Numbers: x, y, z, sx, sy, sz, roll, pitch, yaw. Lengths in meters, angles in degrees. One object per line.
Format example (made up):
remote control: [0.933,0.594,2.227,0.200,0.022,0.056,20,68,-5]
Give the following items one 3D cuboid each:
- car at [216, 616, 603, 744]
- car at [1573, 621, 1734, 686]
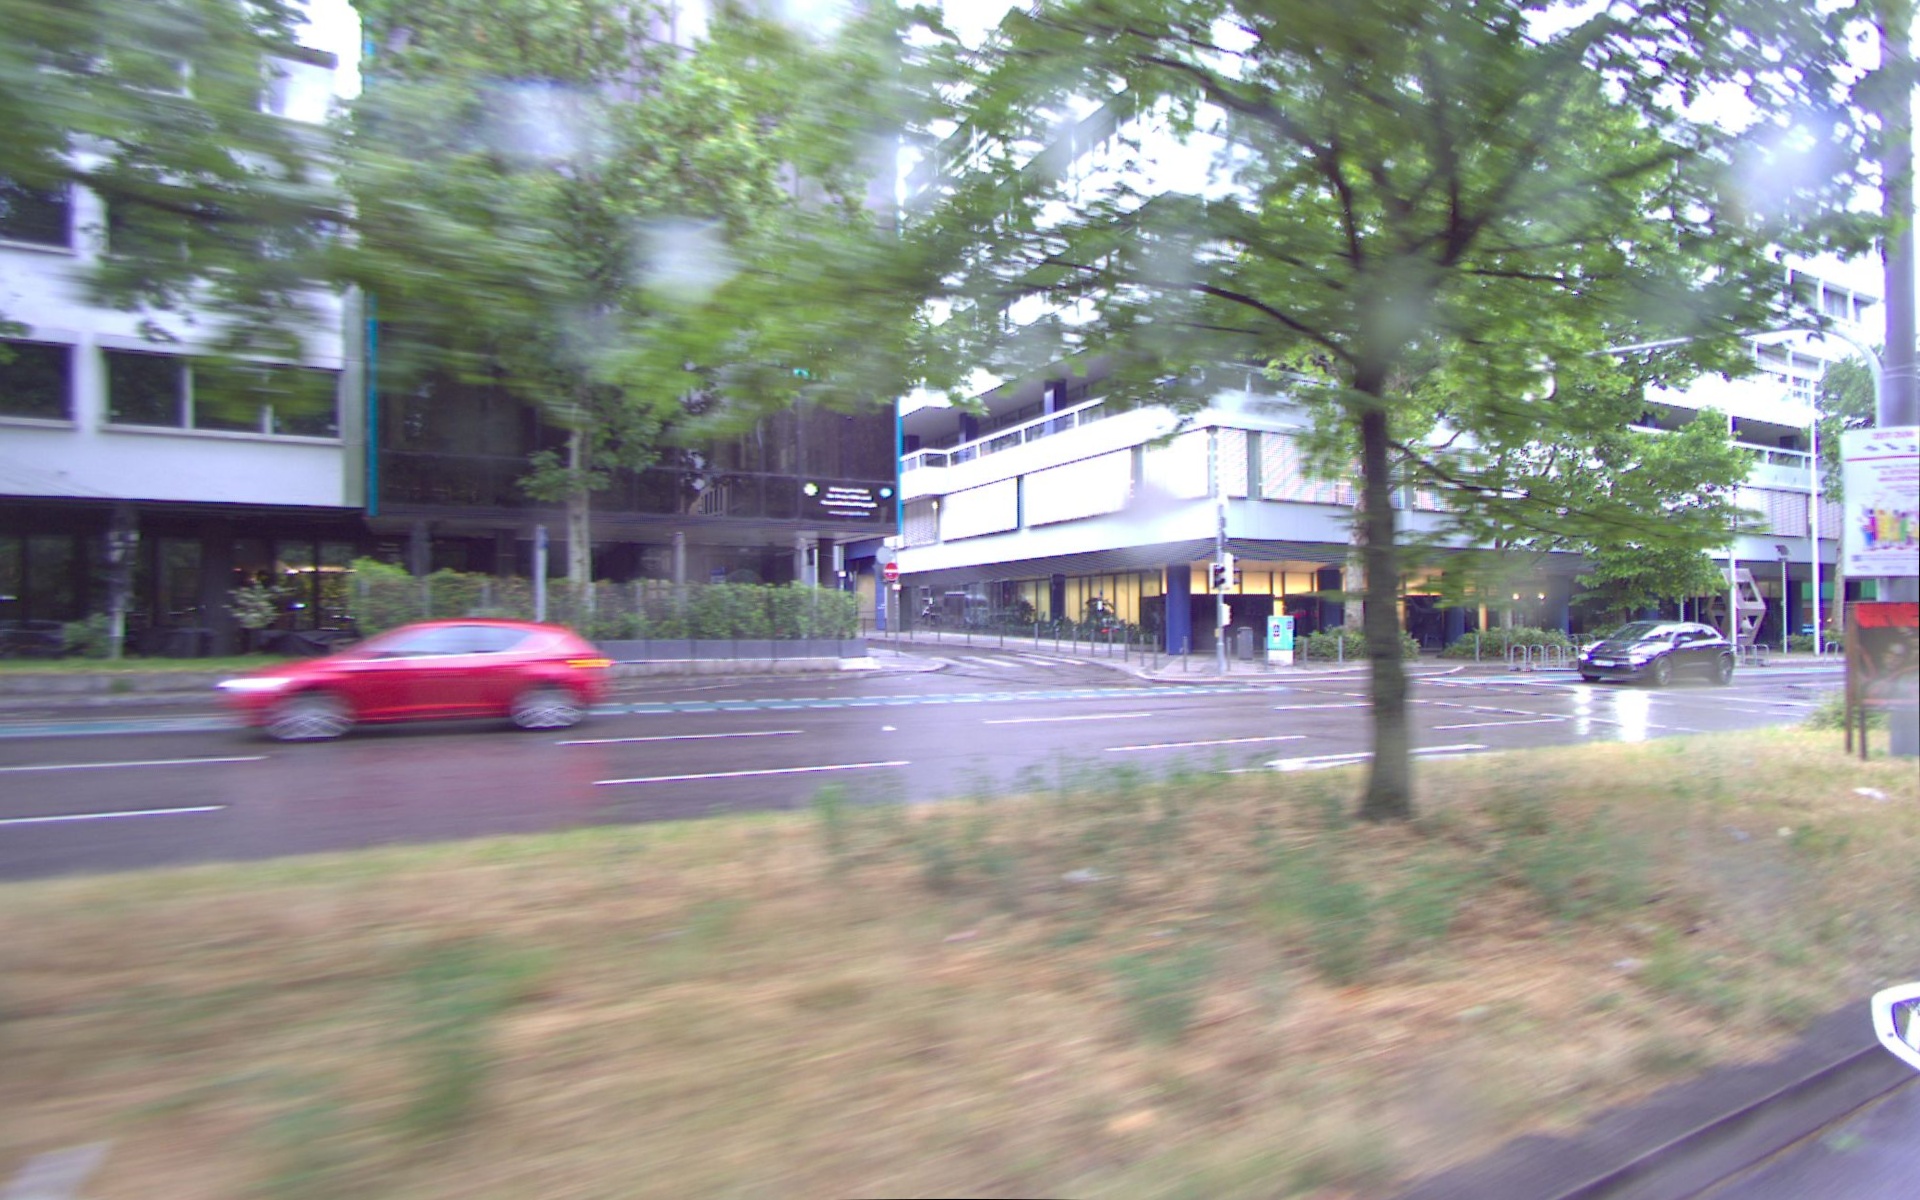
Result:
car: [-6.893,0.919,12.948,4.134,1.412,1.607,0,-1,-30]
car: [18.326,1.363,26.515,4.137,1.572,1.823,1,-1,-28]
